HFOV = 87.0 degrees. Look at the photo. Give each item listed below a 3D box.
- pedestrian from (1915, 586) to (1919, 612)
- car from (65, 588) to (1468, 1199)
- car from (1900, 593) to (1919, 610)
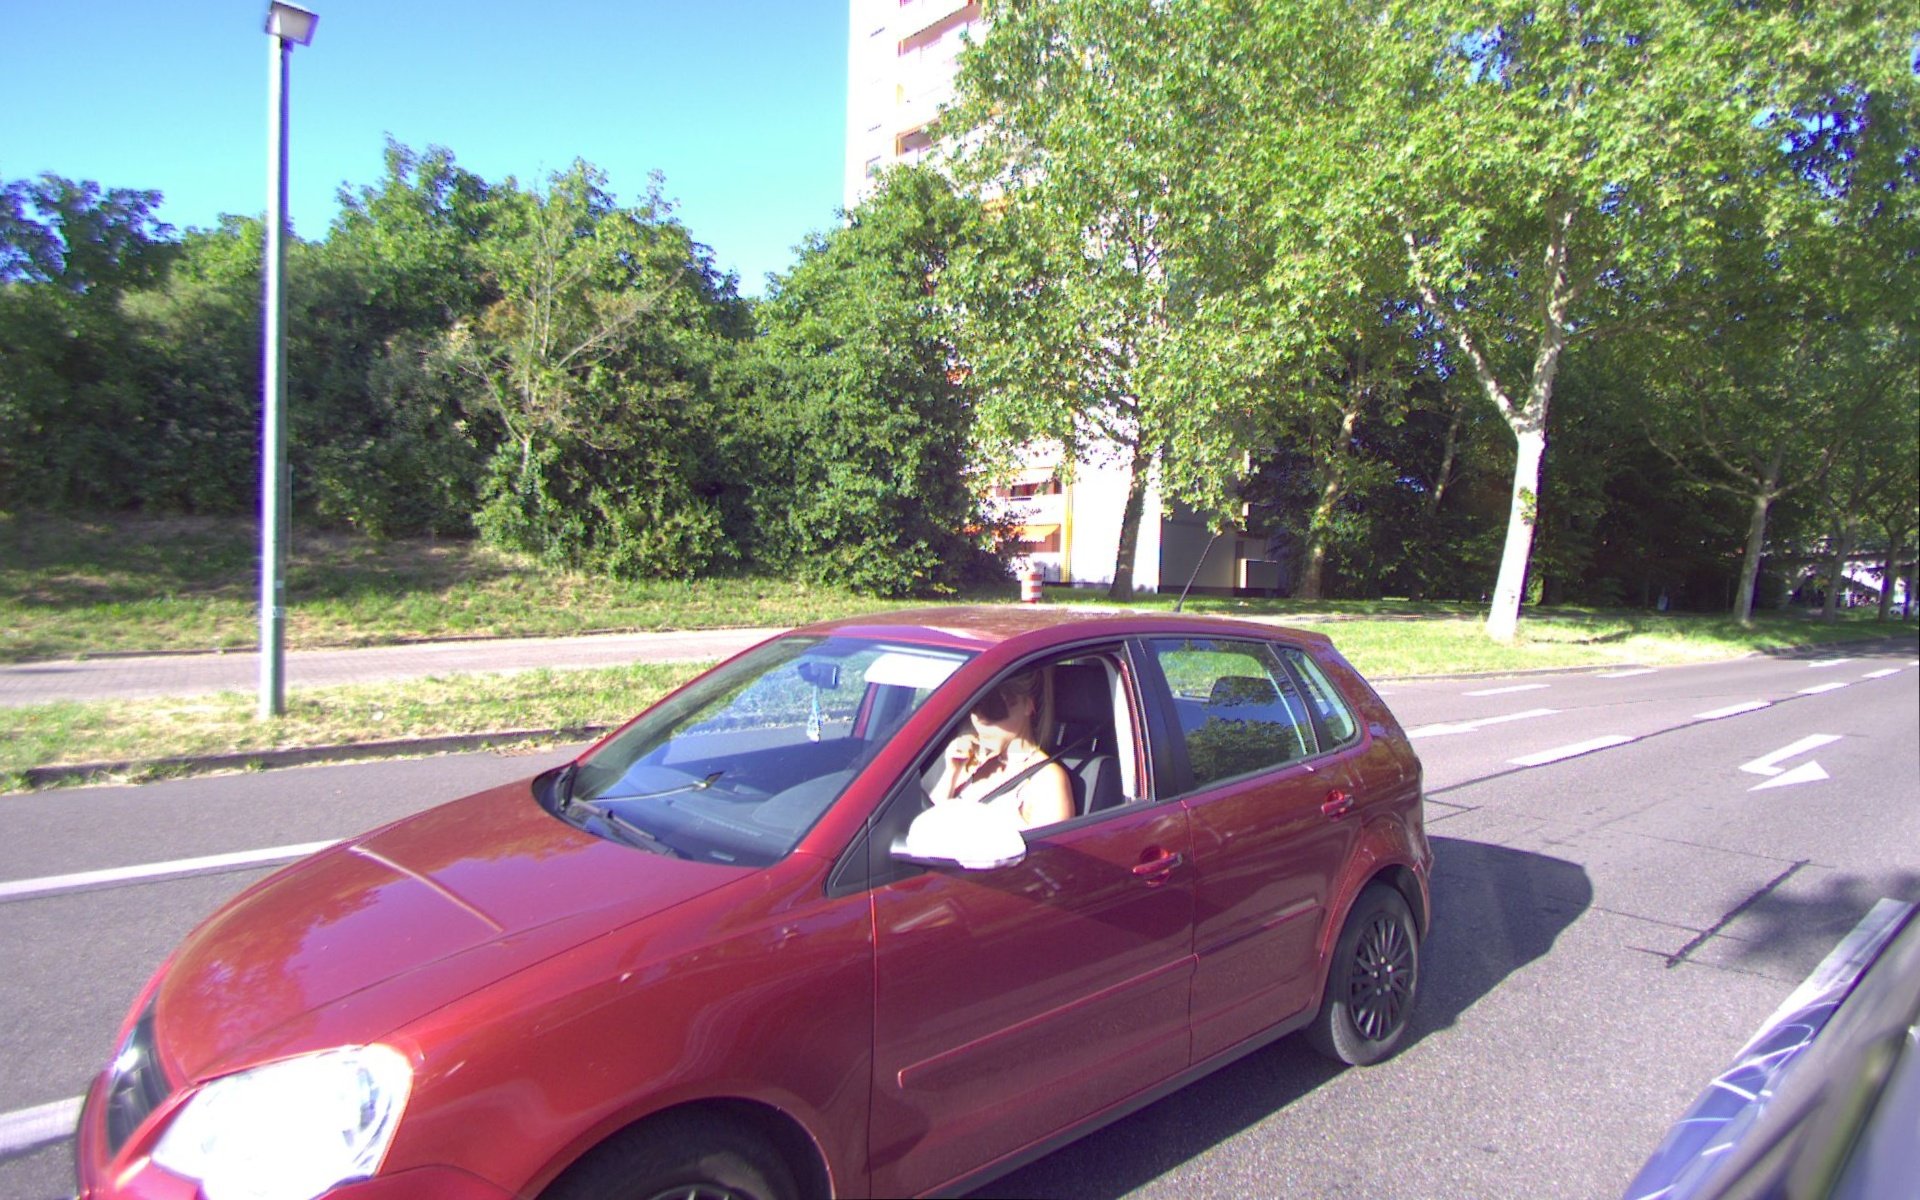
[{"bbox_3d":[75.219,-0.051,78.743,0.946,2.039,0.917,-1,0,8],"label":"pedestrian"},{"bbox_3d":[-0.152,0.698,3.019,3.694,1.456,1.645,-1,1,-40],"label":"car"},{"bbox_3d":[84.422,0.108,87.899,3.983,1.493,1.772,0,0,42],"label":"car"}]
